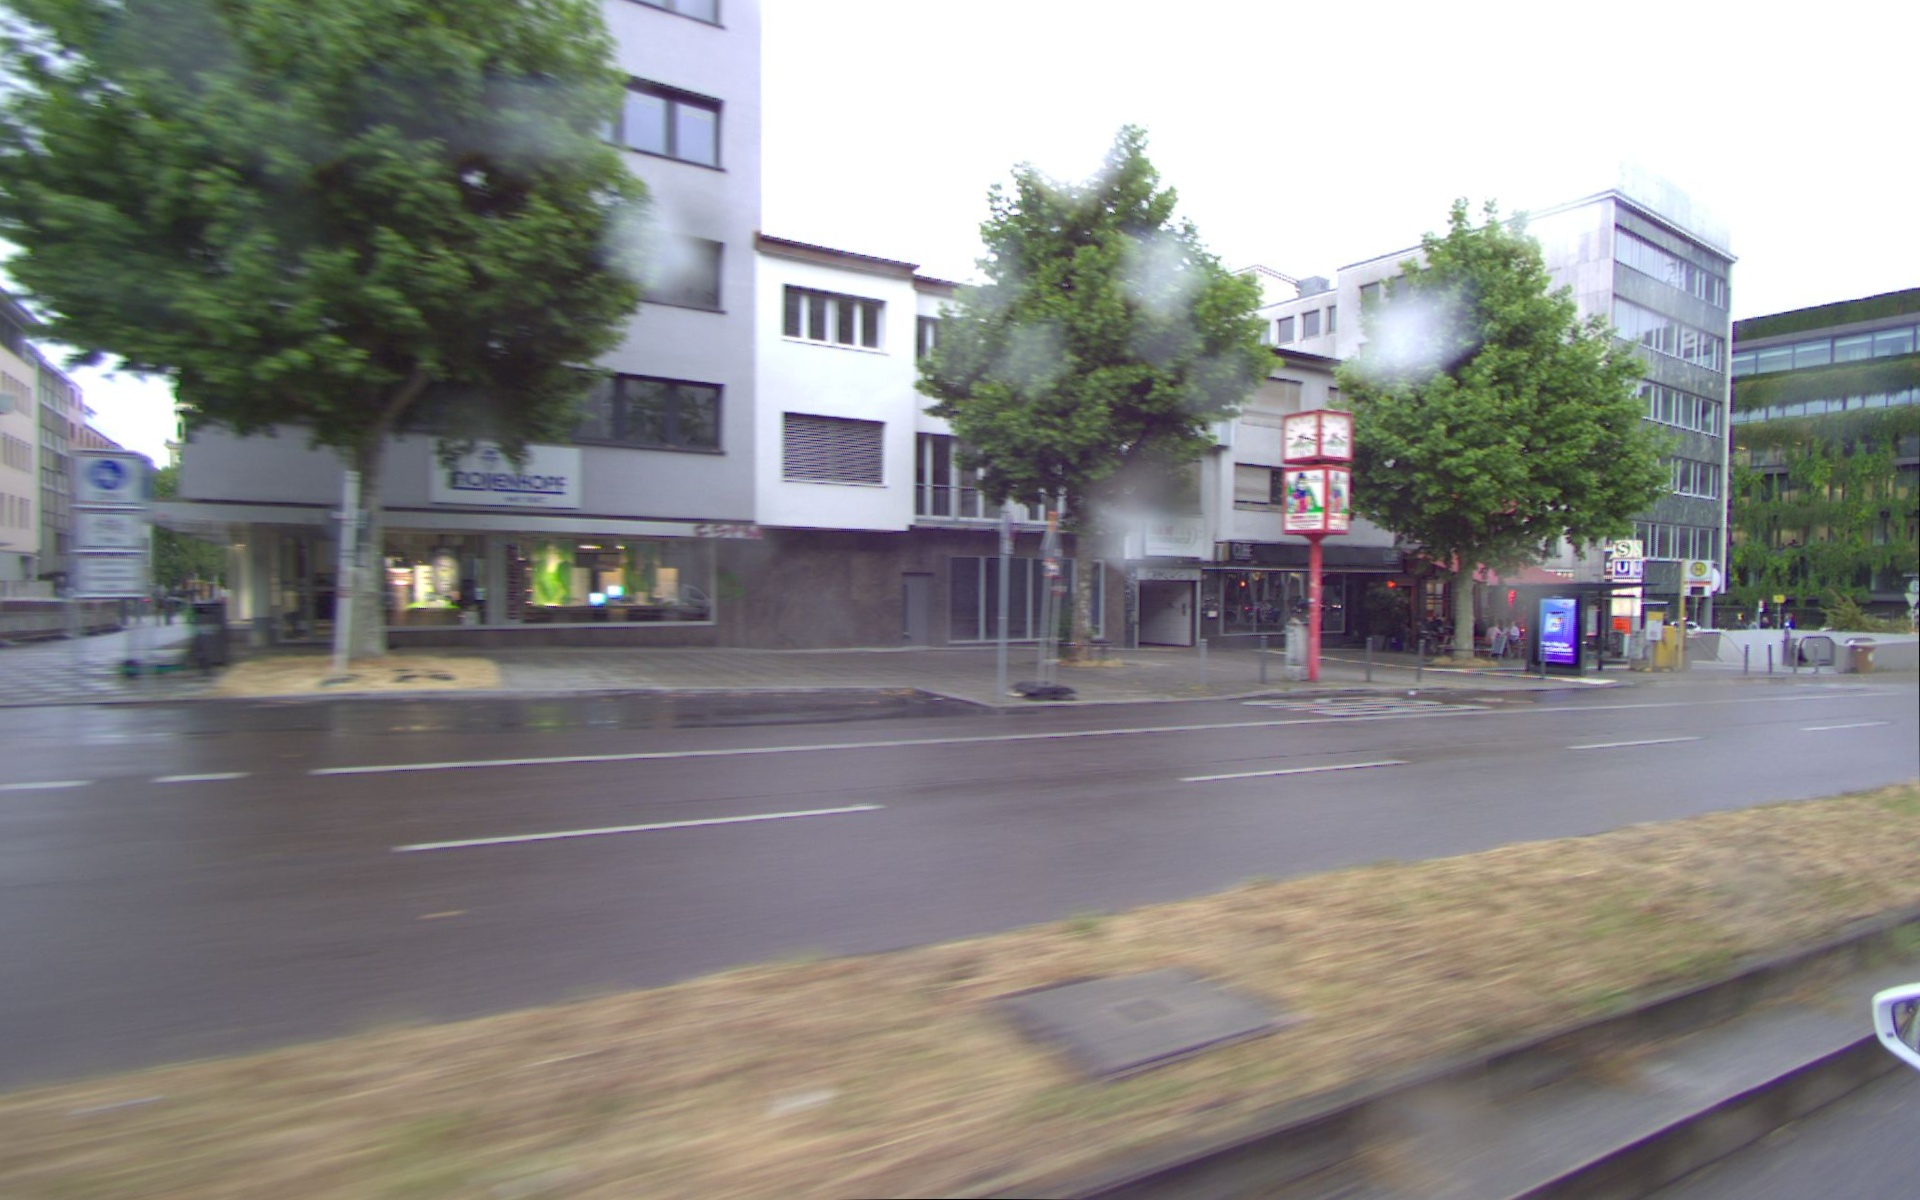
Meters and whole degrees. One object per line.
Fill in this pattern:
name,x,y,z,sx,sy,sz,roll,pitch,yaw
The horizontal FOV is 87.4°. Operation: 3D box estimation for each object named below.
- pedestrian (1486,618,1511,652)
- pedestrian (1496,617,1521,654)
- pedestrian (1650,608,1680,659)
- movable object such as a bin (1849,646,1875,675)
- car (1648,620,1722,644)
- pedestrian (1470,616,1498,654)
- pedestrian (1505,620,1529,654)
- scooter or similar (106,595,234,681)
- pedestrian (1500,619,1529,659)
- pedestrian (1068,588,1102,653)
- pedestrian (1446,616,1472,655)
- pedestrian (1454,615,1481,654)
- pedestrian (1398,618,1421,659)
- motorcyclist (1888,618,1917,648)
pedestrian,22.223,1.438,41.464,0.685,1.374,0.628,1,0,-36
pedestrian,21.954,1.415,40.225,0.685,1.470,0.628,1,0,-36
pedestrian,26.874,1.277,38.291,0.750,1.910,0.685,1,0,-33
movable object such as a bin,29.503,1.969,32.836,0.676,0.909,0.527,1,-2,-39
car,50.391,2.194,69.885,1.857,1.543,3.857,1,0,-41
pedestrian,20.698,1.379,39.688,0.685,1.470,0.721,1,0,-36
pedestrian,22.617,1.490,40.781,0.685,1.362,0.628,1,0,-36
scooter or similar,-11.487,0.523,14.658,1.307,1.137,0.772,-2,4,-28
pedestrian,20.808,1.464,37.716,0.700,1.470,0.685,1,0,-33
pedestrian,3.478,0.583,28.054,0.644,1.786,0.693,1,-1,-27
pedestrian,19.279,1.372,38.805,0.541,1.470,0.685,1,0,-33
pedestrian,19.795,1.343,39.178,0.577,1.470,0.685,1,0,-32
pedestrian,17.466,1.486,39.067,0.600,1.591,0.591,2,-1,-39
motorcyclist,55.660,1.942,59.320,0.843,1.725,1.173,1,0,-45
